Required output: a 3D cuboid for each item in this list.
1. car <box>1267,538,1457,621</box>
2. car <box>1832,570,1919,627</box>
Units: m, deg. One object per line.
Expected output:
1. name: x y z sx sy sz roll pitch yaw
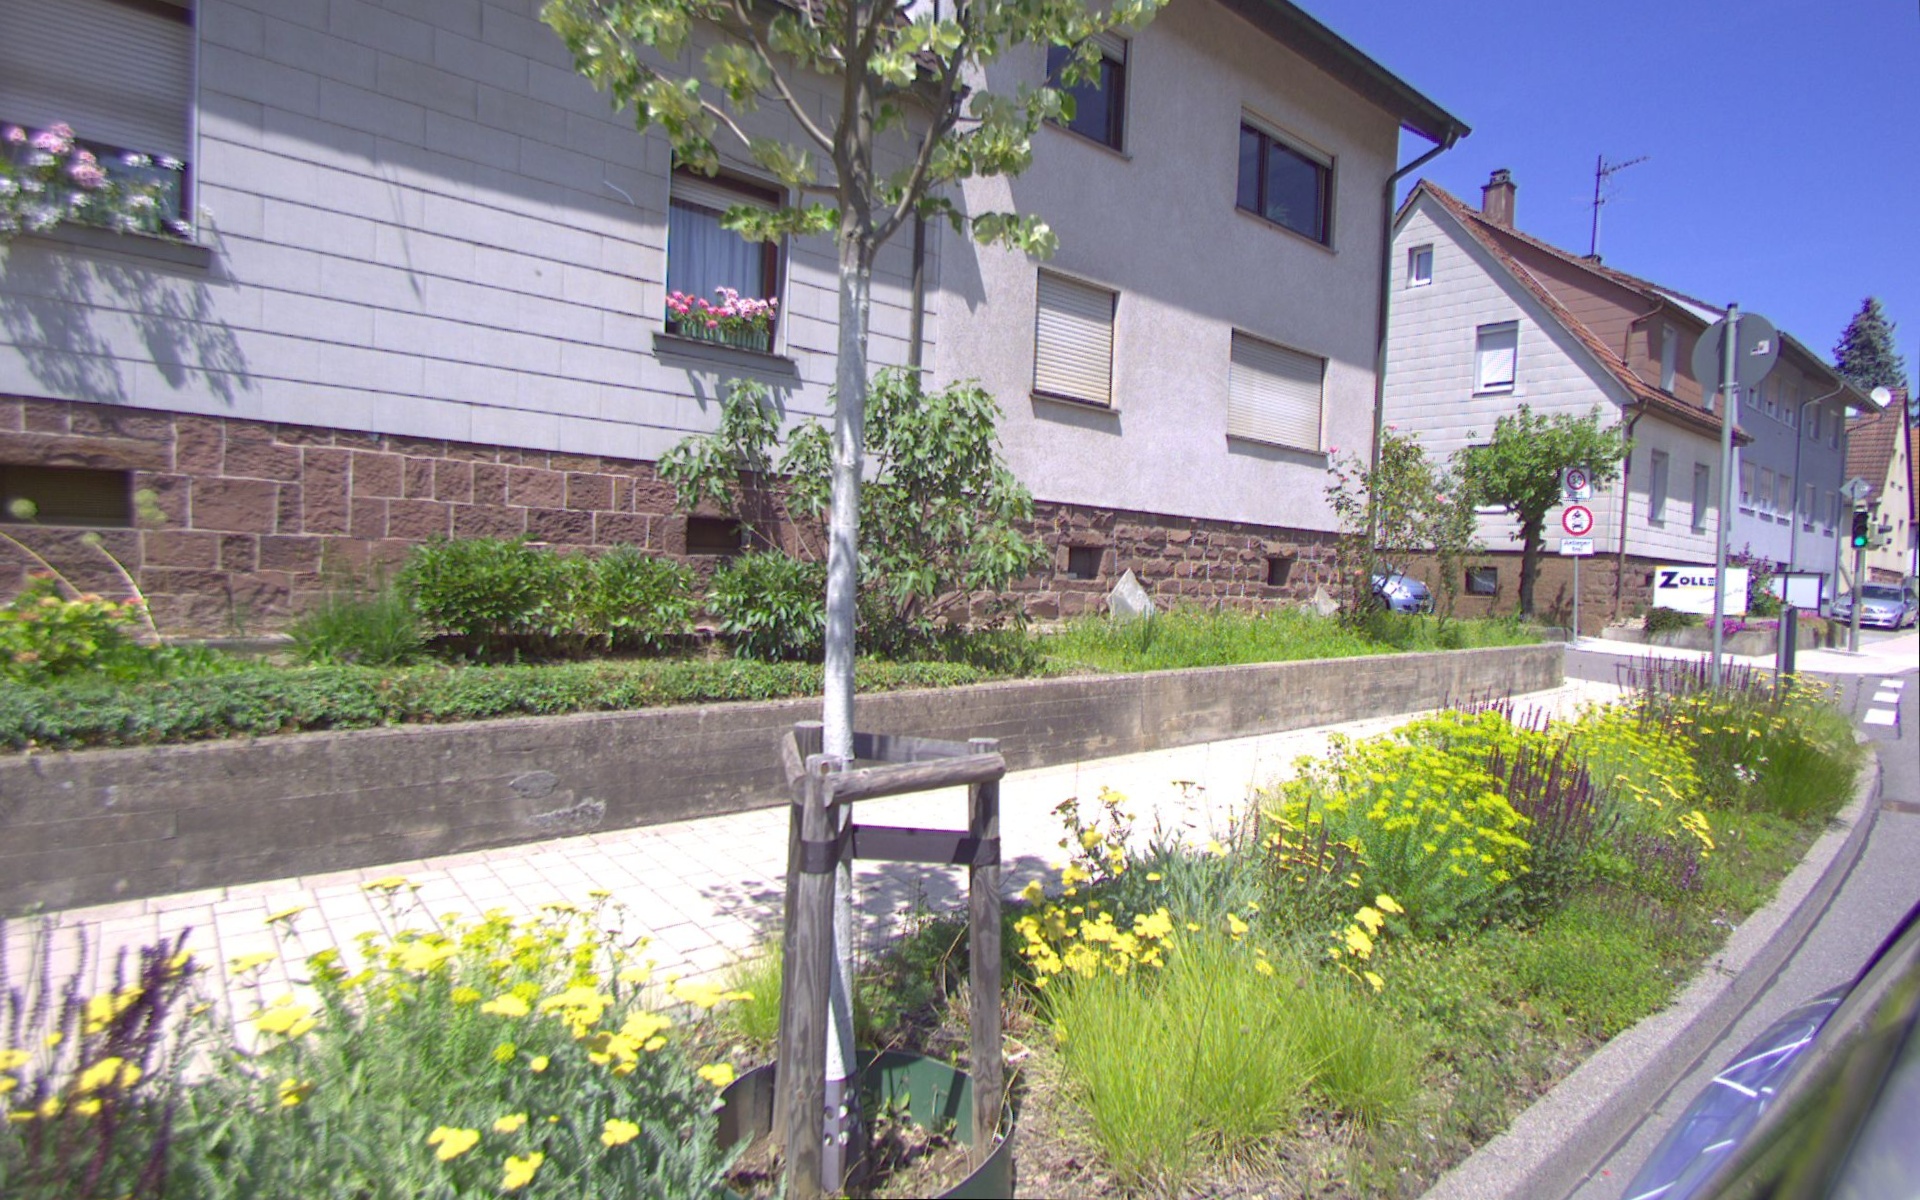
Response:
1. car: 9.048 -0.522 22.972 1.766 1.509 3.527 -1 6 -37
2. car: 30.870 -0.117 33.715 4.426 1.640 1.869 -1 6 -39
